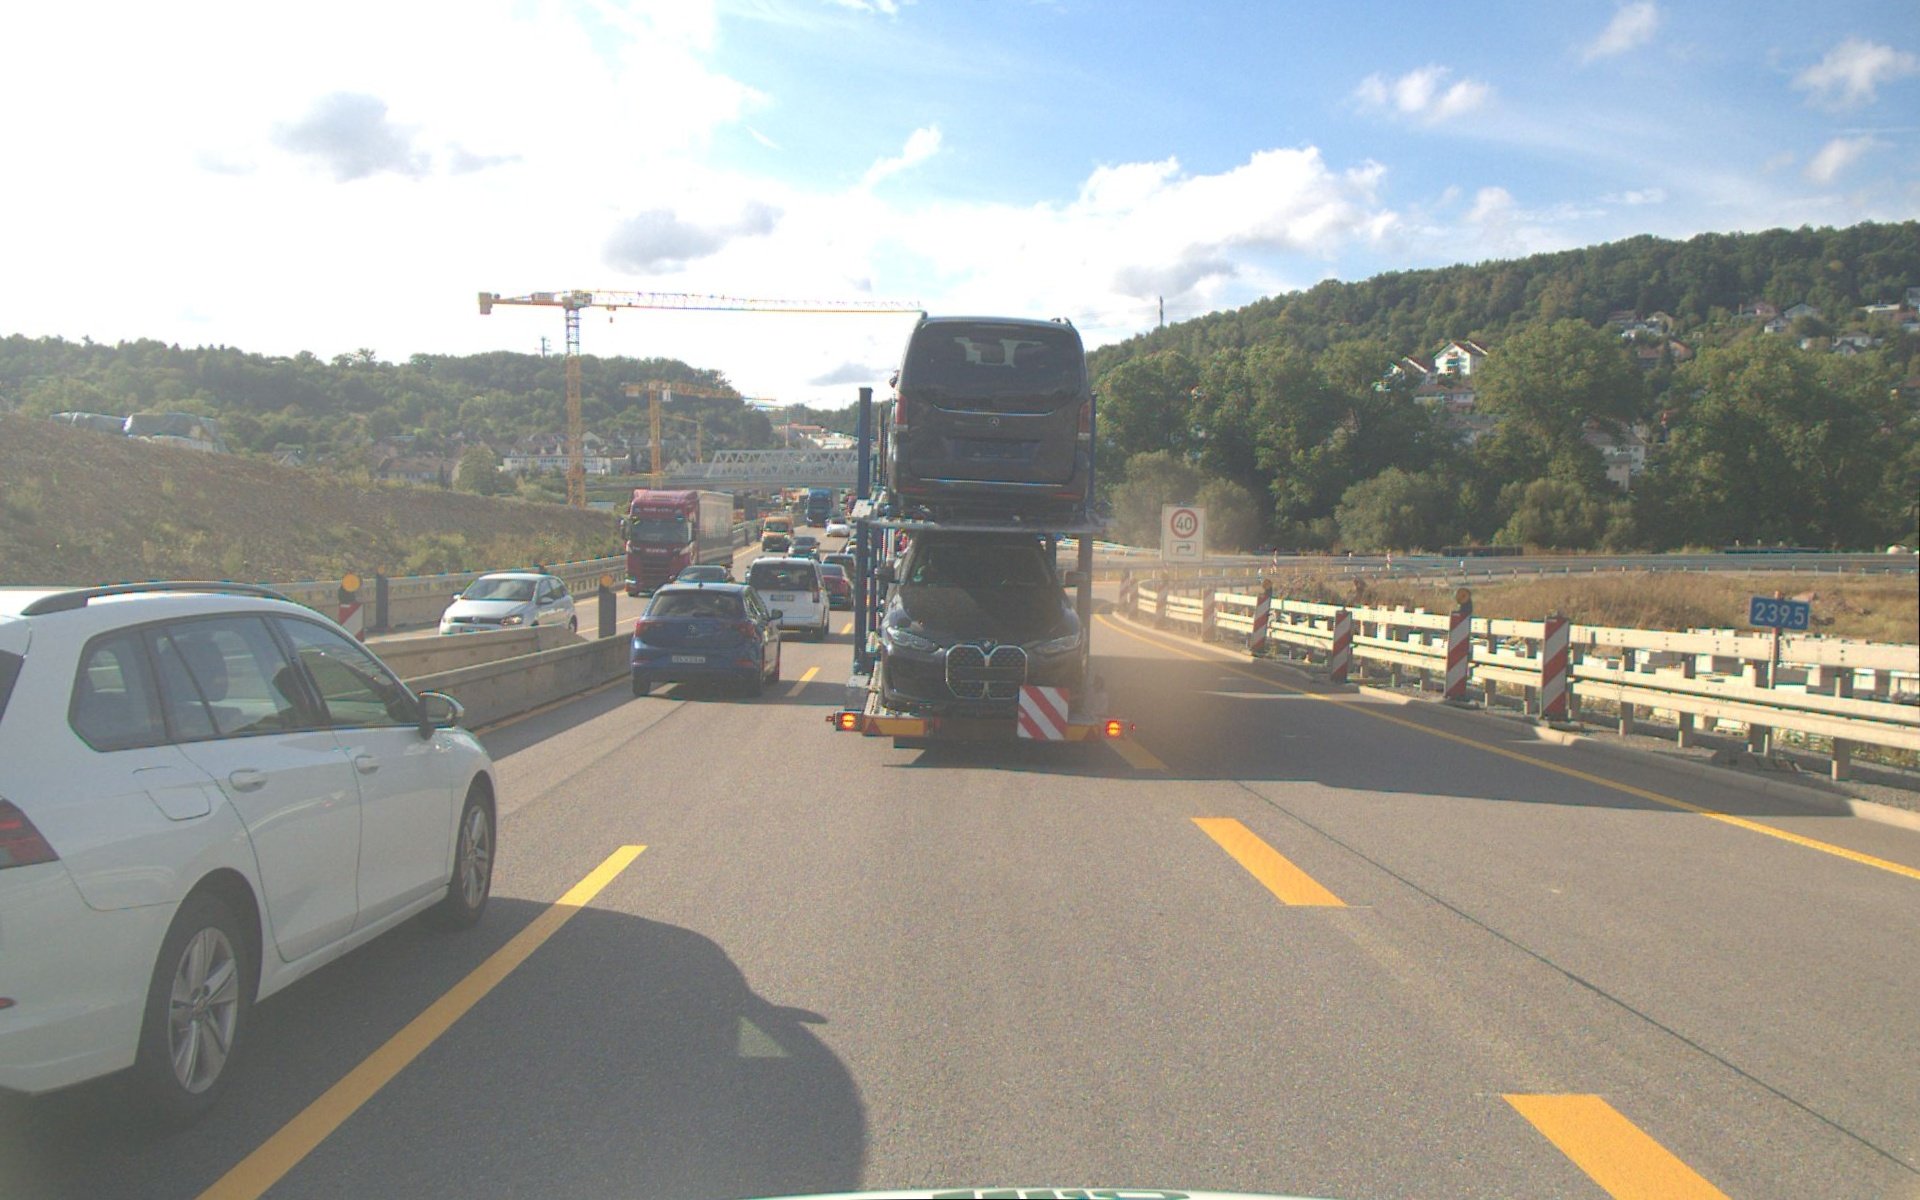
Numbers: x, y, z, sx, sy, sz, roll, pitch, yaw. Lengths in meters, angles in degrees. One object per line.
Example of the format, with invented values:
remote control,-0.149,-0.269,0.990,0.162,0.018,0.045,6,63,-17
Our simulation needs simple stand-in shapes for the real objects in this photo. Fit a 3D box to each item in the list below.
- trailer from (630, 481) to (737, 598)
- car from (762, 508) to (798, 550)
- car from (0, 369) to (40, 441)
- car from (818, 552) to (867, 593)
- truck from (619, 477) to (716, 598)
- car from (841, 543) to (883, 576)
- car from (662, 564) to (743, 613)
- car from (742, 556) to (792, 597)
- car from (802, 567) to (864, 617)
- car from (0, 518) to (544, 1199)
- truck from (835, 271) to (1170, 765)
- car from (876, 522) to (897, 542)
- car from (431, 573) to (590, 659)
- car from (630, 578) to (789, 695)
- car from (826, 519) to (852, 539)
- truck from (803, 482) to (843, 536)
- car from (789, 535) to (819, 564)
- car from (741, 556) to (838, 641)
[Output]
trailer,-11.828,-2.495,71.996,2.917,4.499,13.808,2,1,-3
car,-13.090,-5.152,120.351,1.953,2.929,6.065,1,3,-1
car,-34.597,-6.957,57.752,1.954,2.177,5.319,-4,-1,-2
car,-5.004,-1.141,70.713,1.954,1.579,3.997,1,-1,-3
truck,-11.503,-2.350,65.540,2.856,4.464,6.282,2,0,-3
car,-5.234,-2.160,88.707,1.953,1.695,4.000,1,1,0
car,-8.121,-0.361,52.523,1.784,1.465,4.614,1,0,1
car,-8.266,-1.015,71.270,1.807,1.677,4.502,1,0,-3
car,-4.287,-0.234,56.486,1.954,1.584,4.398,1,-1,-3
car,-2.865,0.634,5.650,1.734,1.517,4.516,0,-1,0
truck,0.070,-0.848,23.146,2.698,4.023,18.884,1,1,-2
car,-6.684,-6.124,149.483,1.808,1.677,4.501,1,0,-4
car,-8.297,0.260,30.855,1.717,1.465,3.806,1,0,3
car,-3.332,0.466,22.618,1.687,1.447,3.998,0,0,-2
car,-10.712,-6.284,146.230,1.952,1.713,4.001,1,2,0
truck,-14.642,-9.673,177.656,2.763,4.872,13.057,1,-1,2
car,-9.721,-3.140,103.311,1.808,1.677,4.232,1,0,-5
car,-3.872,-0.010,38.201,1.786,1.823,3.999,1,-1,0
